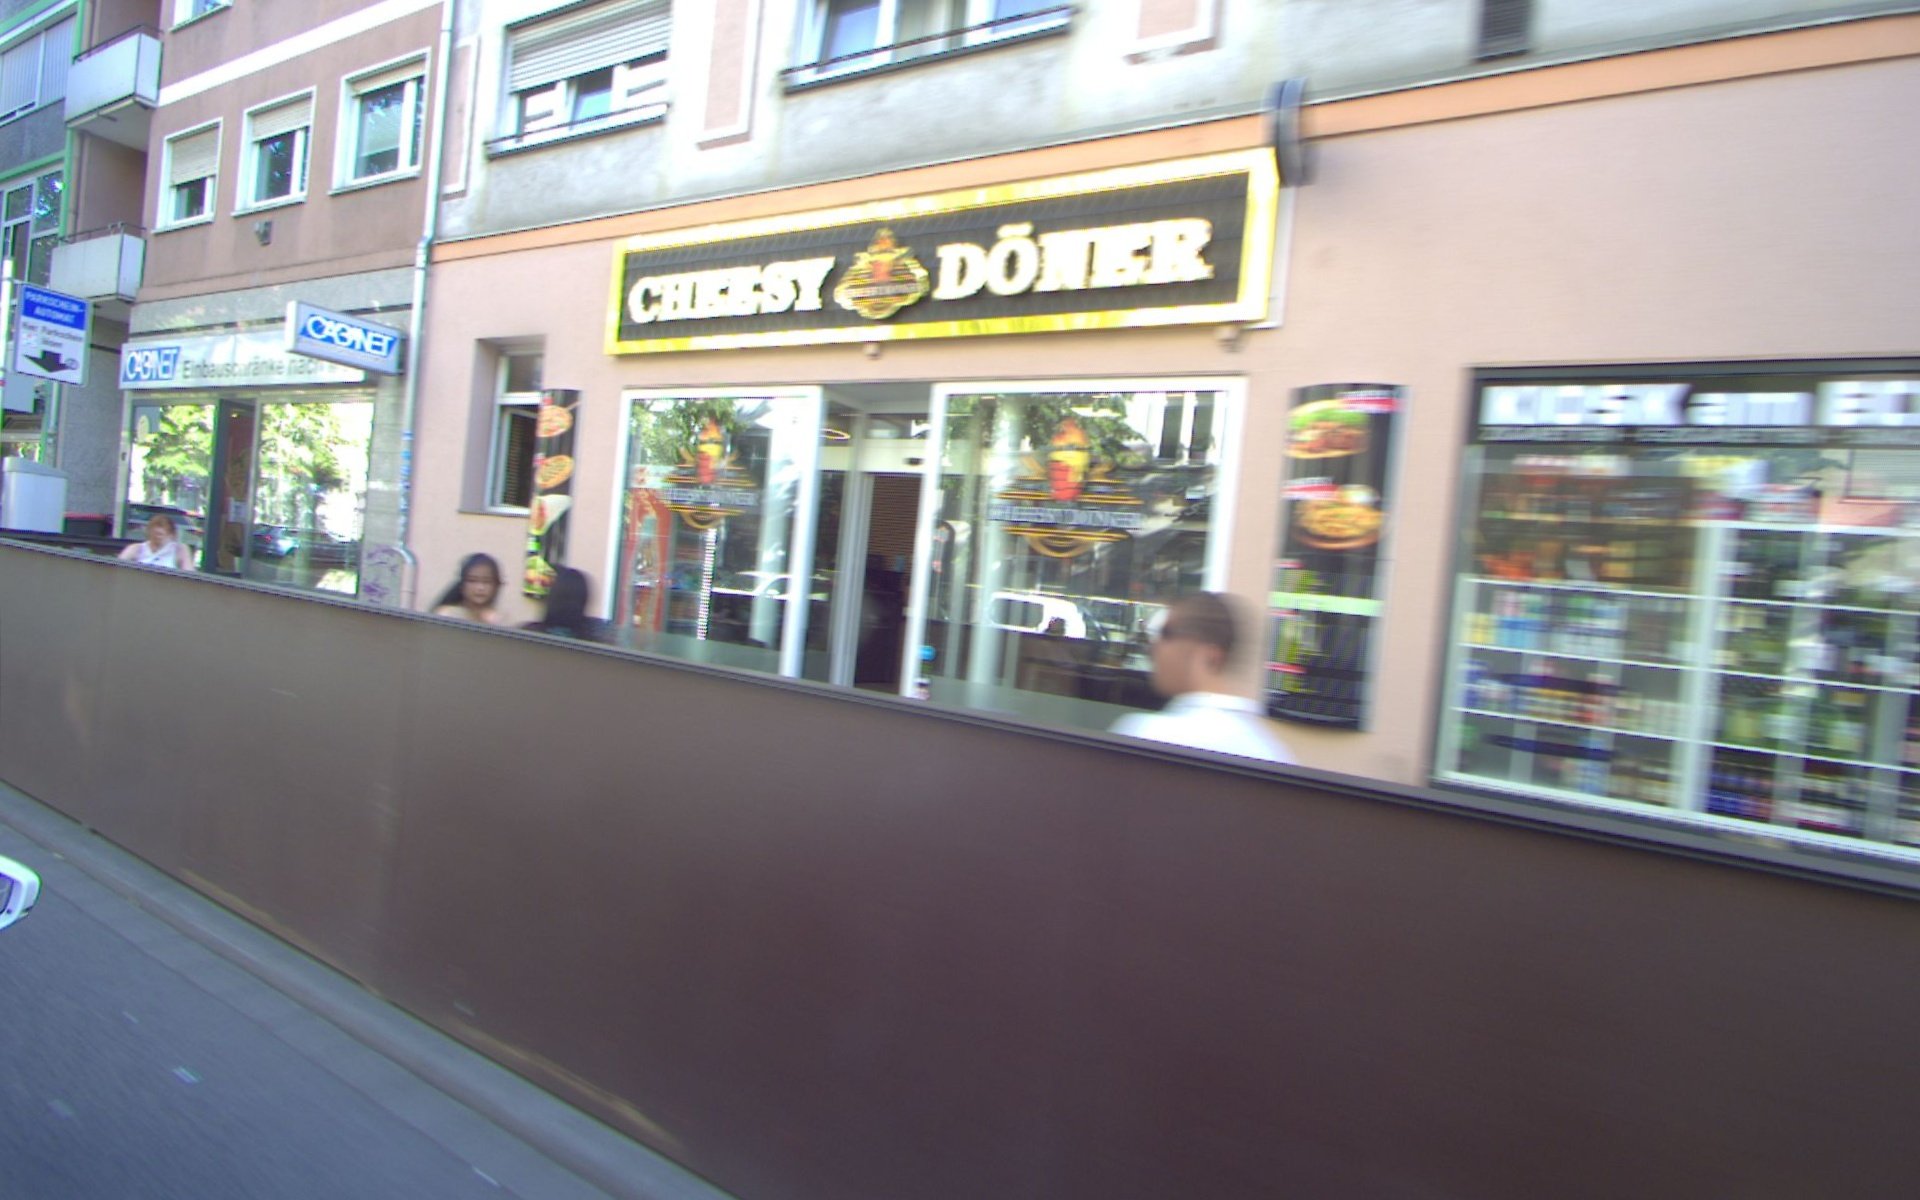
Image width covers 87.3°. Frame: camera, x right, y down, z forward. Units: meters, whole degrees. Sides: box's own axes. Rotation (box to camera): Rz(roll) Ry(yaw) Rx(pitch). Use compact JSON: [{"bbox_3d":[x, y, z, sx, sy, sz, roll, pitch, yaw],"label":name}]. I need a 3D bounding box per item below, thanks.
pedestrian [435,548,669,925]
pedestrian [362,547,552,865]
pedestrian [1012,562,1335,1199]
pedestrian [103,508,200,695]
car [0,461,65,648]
[{"bbox_3d":[-1.691,0.526,4.184,0.584,1.396,0.552,7,1,32],"label":"pedestrian"},{"bbox_3d":[-2.405,0.478,4.812,0.584,1.379,0.473,7,1,32],"label":"pedestrian"},{"bbox_3d":[0.501,0.720,2.340,0.454,1.549,0.473,7,1,32],"label":"pedestrian"},{"bbox_3d":[-6.107,0.008,7.605,0.470,1.348,0.478,5,1,-39],"label":"pedestrian"},{"bbox_3d":[-10.916,-0.619,9.855,4.441,1.714,1.992,7,4,31],"label":"car"}]
